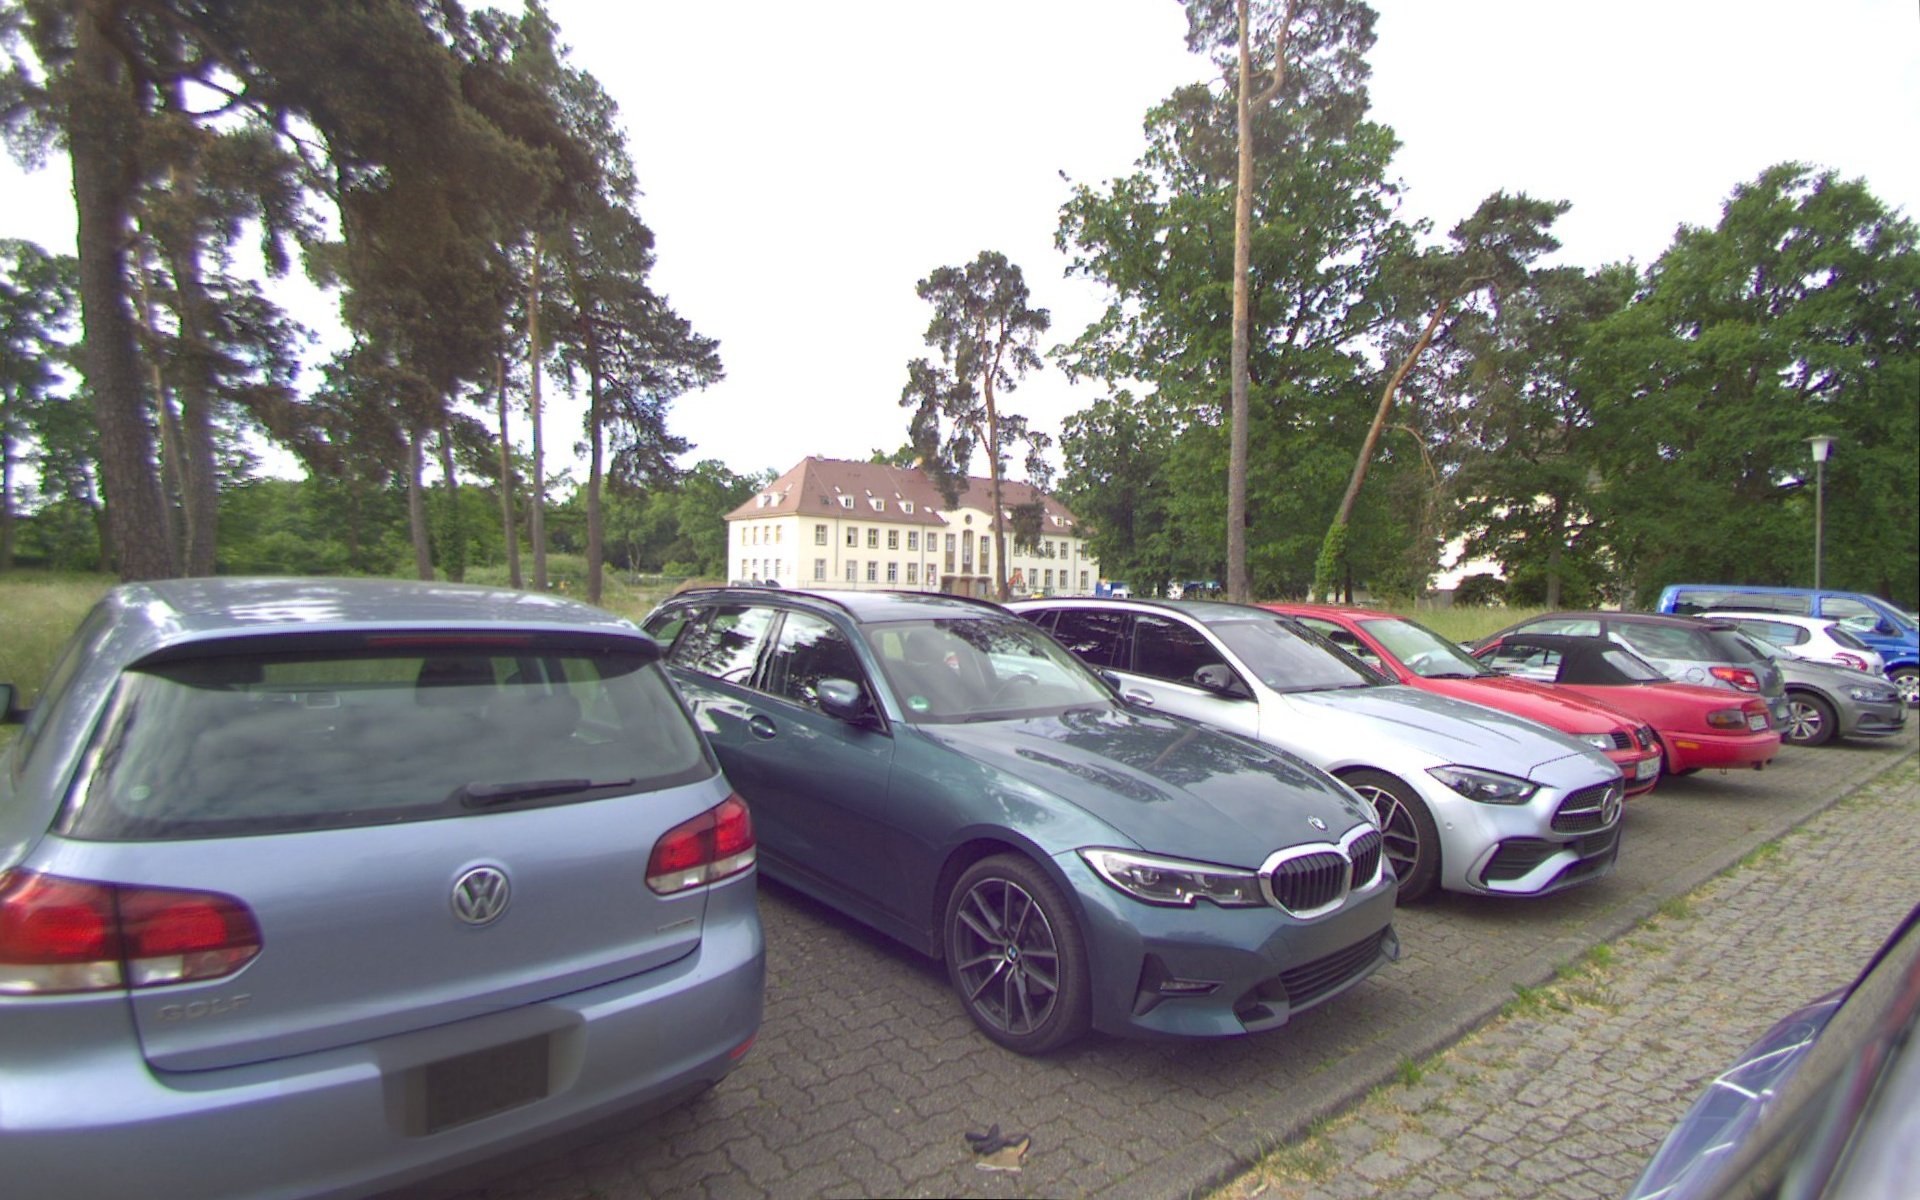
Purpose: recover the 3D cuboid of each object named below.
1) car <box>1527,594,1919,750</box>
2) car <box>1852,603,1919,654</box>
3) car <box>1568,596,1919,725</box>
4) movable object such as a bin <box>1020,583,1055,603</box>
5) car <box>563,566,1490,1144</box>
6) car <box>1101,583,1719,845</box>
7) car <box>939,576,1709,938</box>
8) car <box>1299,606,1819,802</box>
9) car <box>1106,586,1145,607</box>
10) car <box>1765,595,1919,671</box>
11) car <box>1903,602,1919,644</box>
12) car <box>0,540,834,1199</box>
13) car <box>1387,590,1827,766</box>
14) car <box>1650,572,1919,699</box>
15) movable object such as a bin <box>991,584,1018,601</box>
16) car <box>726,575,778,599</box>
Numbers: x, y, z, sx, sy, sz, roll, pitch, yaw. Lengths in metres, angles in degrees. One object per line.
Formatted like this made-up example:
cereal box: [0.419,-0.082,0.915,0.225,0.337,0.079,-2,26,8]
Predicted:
car: [9.691,0.776,12.924,1.727,1.490,3.872,1,2,-40]
car: [29.866,0.916,30.799,1.555,1.478,3.892,1,2,-41]
car: [11.625,0.789,15.218,1.726,1.490,3.873,1,2,-38]
movable object such as a bin: [8.151,-0.707,106.394,3.180,2.039,1.682,1,0,-33]
car: [-0.189,0.637,5.092,1.839,1.434,4.689,1,2,-42]
car: [3.405,0.672,8.382,1.838,1.434,4.272,1,2,-40]
car: [2.018,0.657,6.695,1.839,1.434,4.429,1,2,-42]
car: [5.435,0.792,9.578,1.727,1.251,3.870,1,2,-41]
car: [16.850,-0.381,103.252,3.935,2.039,1.995,1,0,-45]
car: [22.186,0.781,24.249,1.790,1.618,4.269,1,2,-41]
car: [37.616,0.934,37.213,1.555,1.557,4.148,1,2,-41]
car: [-2.201,0.572,3.764,1.612,1.495,3.938,1,2,-38]
car: [7.197,0.723,11.561,1.727,1.490,3.870,1,2,-41]
car: [15.723,0.581,18.448,1.968,1.969,4.818,1,2,-41]
movable object such as a bin: [5.368,-0.900,122.146,2.975,2.039,1.530,1,0,44]
car: [-21.701,-1.410,105.495,5.850,2.269,2.281,3,2,44]
